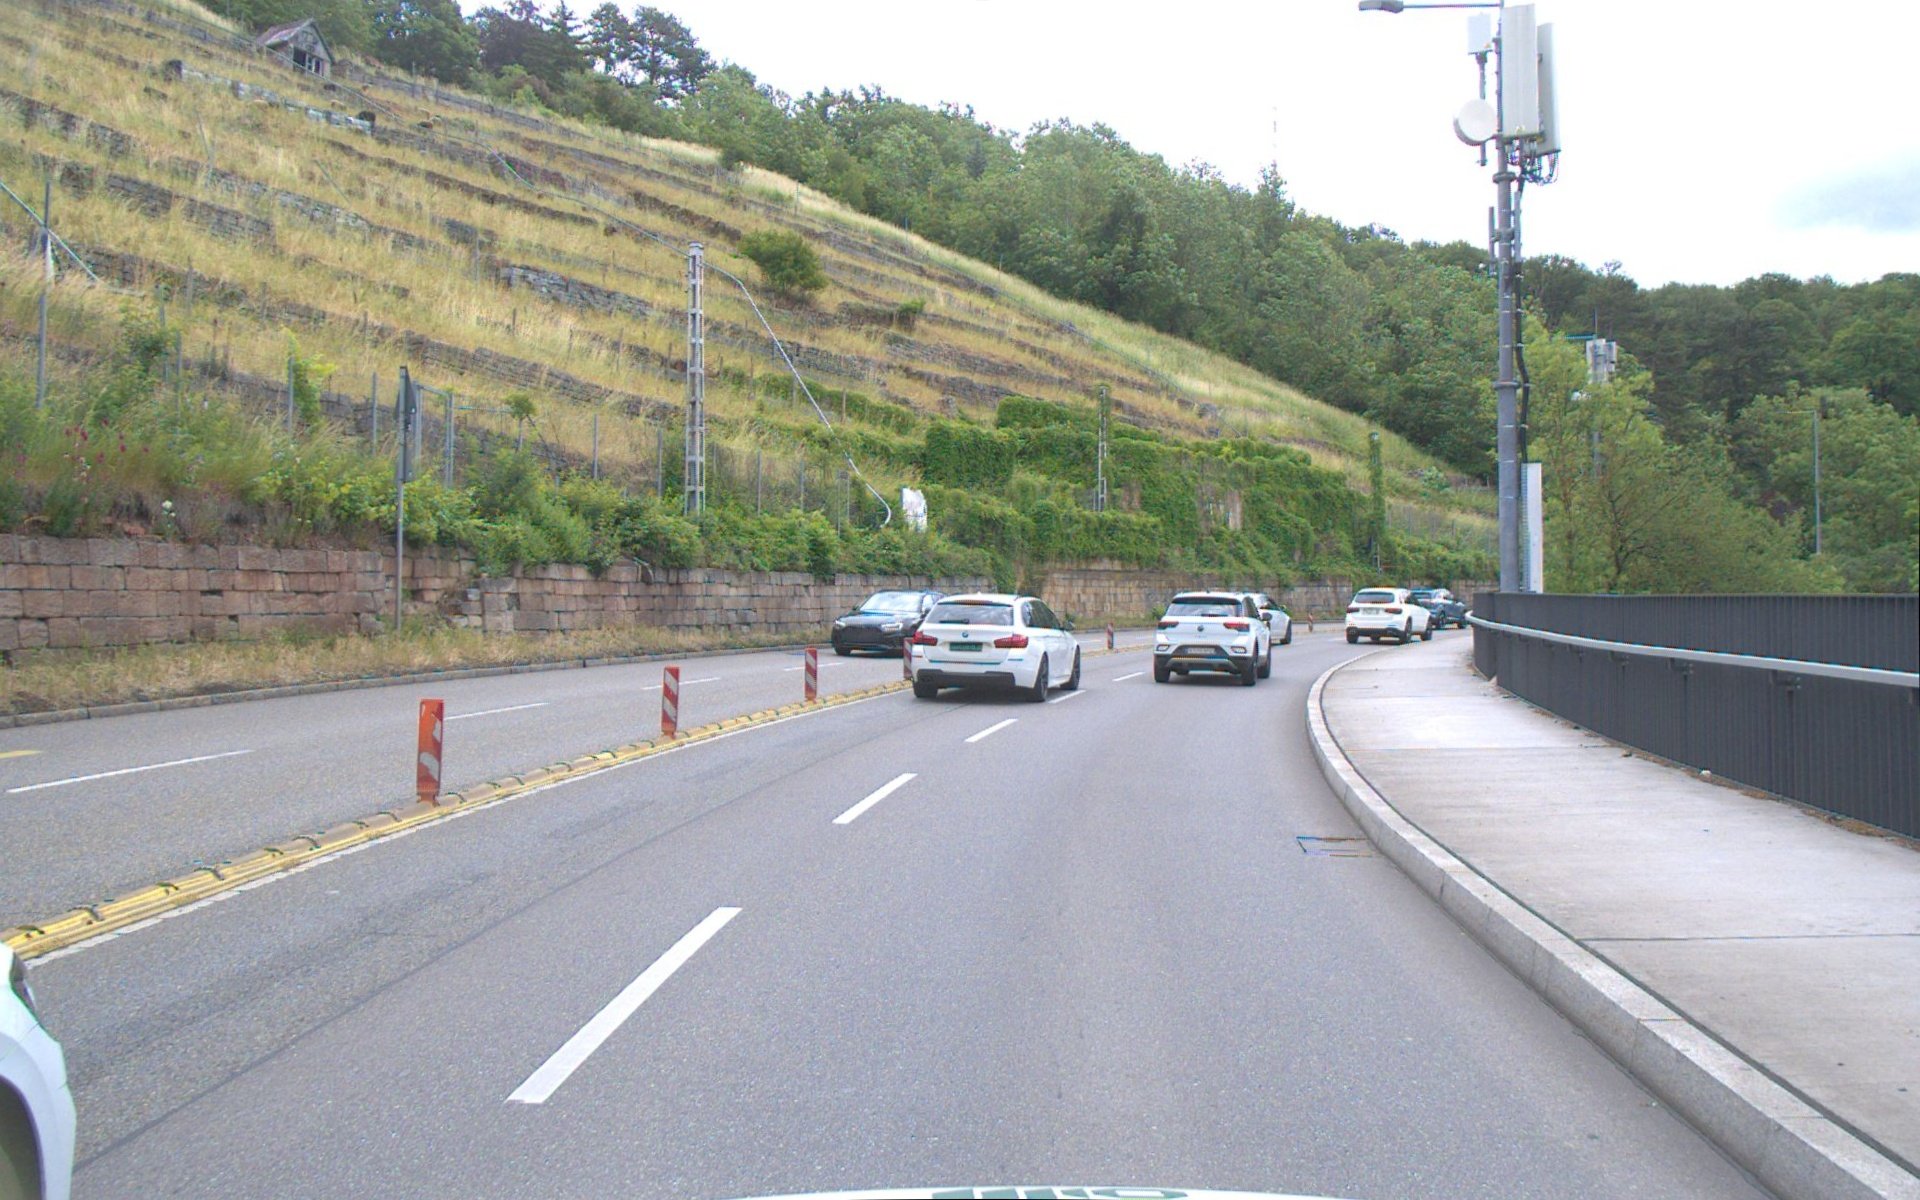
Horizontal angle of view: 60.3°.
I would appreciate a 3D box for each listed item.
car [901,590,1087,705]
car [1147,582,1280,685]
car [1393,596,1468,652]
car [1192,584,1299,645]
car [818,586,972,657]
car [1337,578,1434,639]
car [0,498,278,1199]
[{"bbox_3d":[0.606,0.625,24.198,1.789,1.485,4.489,1,0,13],"label":"car"},{"bbox_3d":[4.612,0.563,29.603,1.789,1.633,4.002,3,0,16],"label":"car"},{"bbox_3d":[18.441,0.930,64.719,1.955,2.049,3.995,-3,-2,27],"label":"car"},{"bbox_3d":[8.055,0.353,46.365,1.953,1.529,4.667,2,2,22],"label":"car"},{"bbox_3d":[-1.351,0.439,36.637,1.813,1.438,4.416,2,1,21],"label":"car"},{"bbox_3d":[12.954,0.300,50.183,1.955,1.748,4.108,-1,-2,27],"label":"car"},{"bbox_3d":[-2.429,0.641,1.388,1.783,1.608,4.357,1,0,2],"label":"car"}]
